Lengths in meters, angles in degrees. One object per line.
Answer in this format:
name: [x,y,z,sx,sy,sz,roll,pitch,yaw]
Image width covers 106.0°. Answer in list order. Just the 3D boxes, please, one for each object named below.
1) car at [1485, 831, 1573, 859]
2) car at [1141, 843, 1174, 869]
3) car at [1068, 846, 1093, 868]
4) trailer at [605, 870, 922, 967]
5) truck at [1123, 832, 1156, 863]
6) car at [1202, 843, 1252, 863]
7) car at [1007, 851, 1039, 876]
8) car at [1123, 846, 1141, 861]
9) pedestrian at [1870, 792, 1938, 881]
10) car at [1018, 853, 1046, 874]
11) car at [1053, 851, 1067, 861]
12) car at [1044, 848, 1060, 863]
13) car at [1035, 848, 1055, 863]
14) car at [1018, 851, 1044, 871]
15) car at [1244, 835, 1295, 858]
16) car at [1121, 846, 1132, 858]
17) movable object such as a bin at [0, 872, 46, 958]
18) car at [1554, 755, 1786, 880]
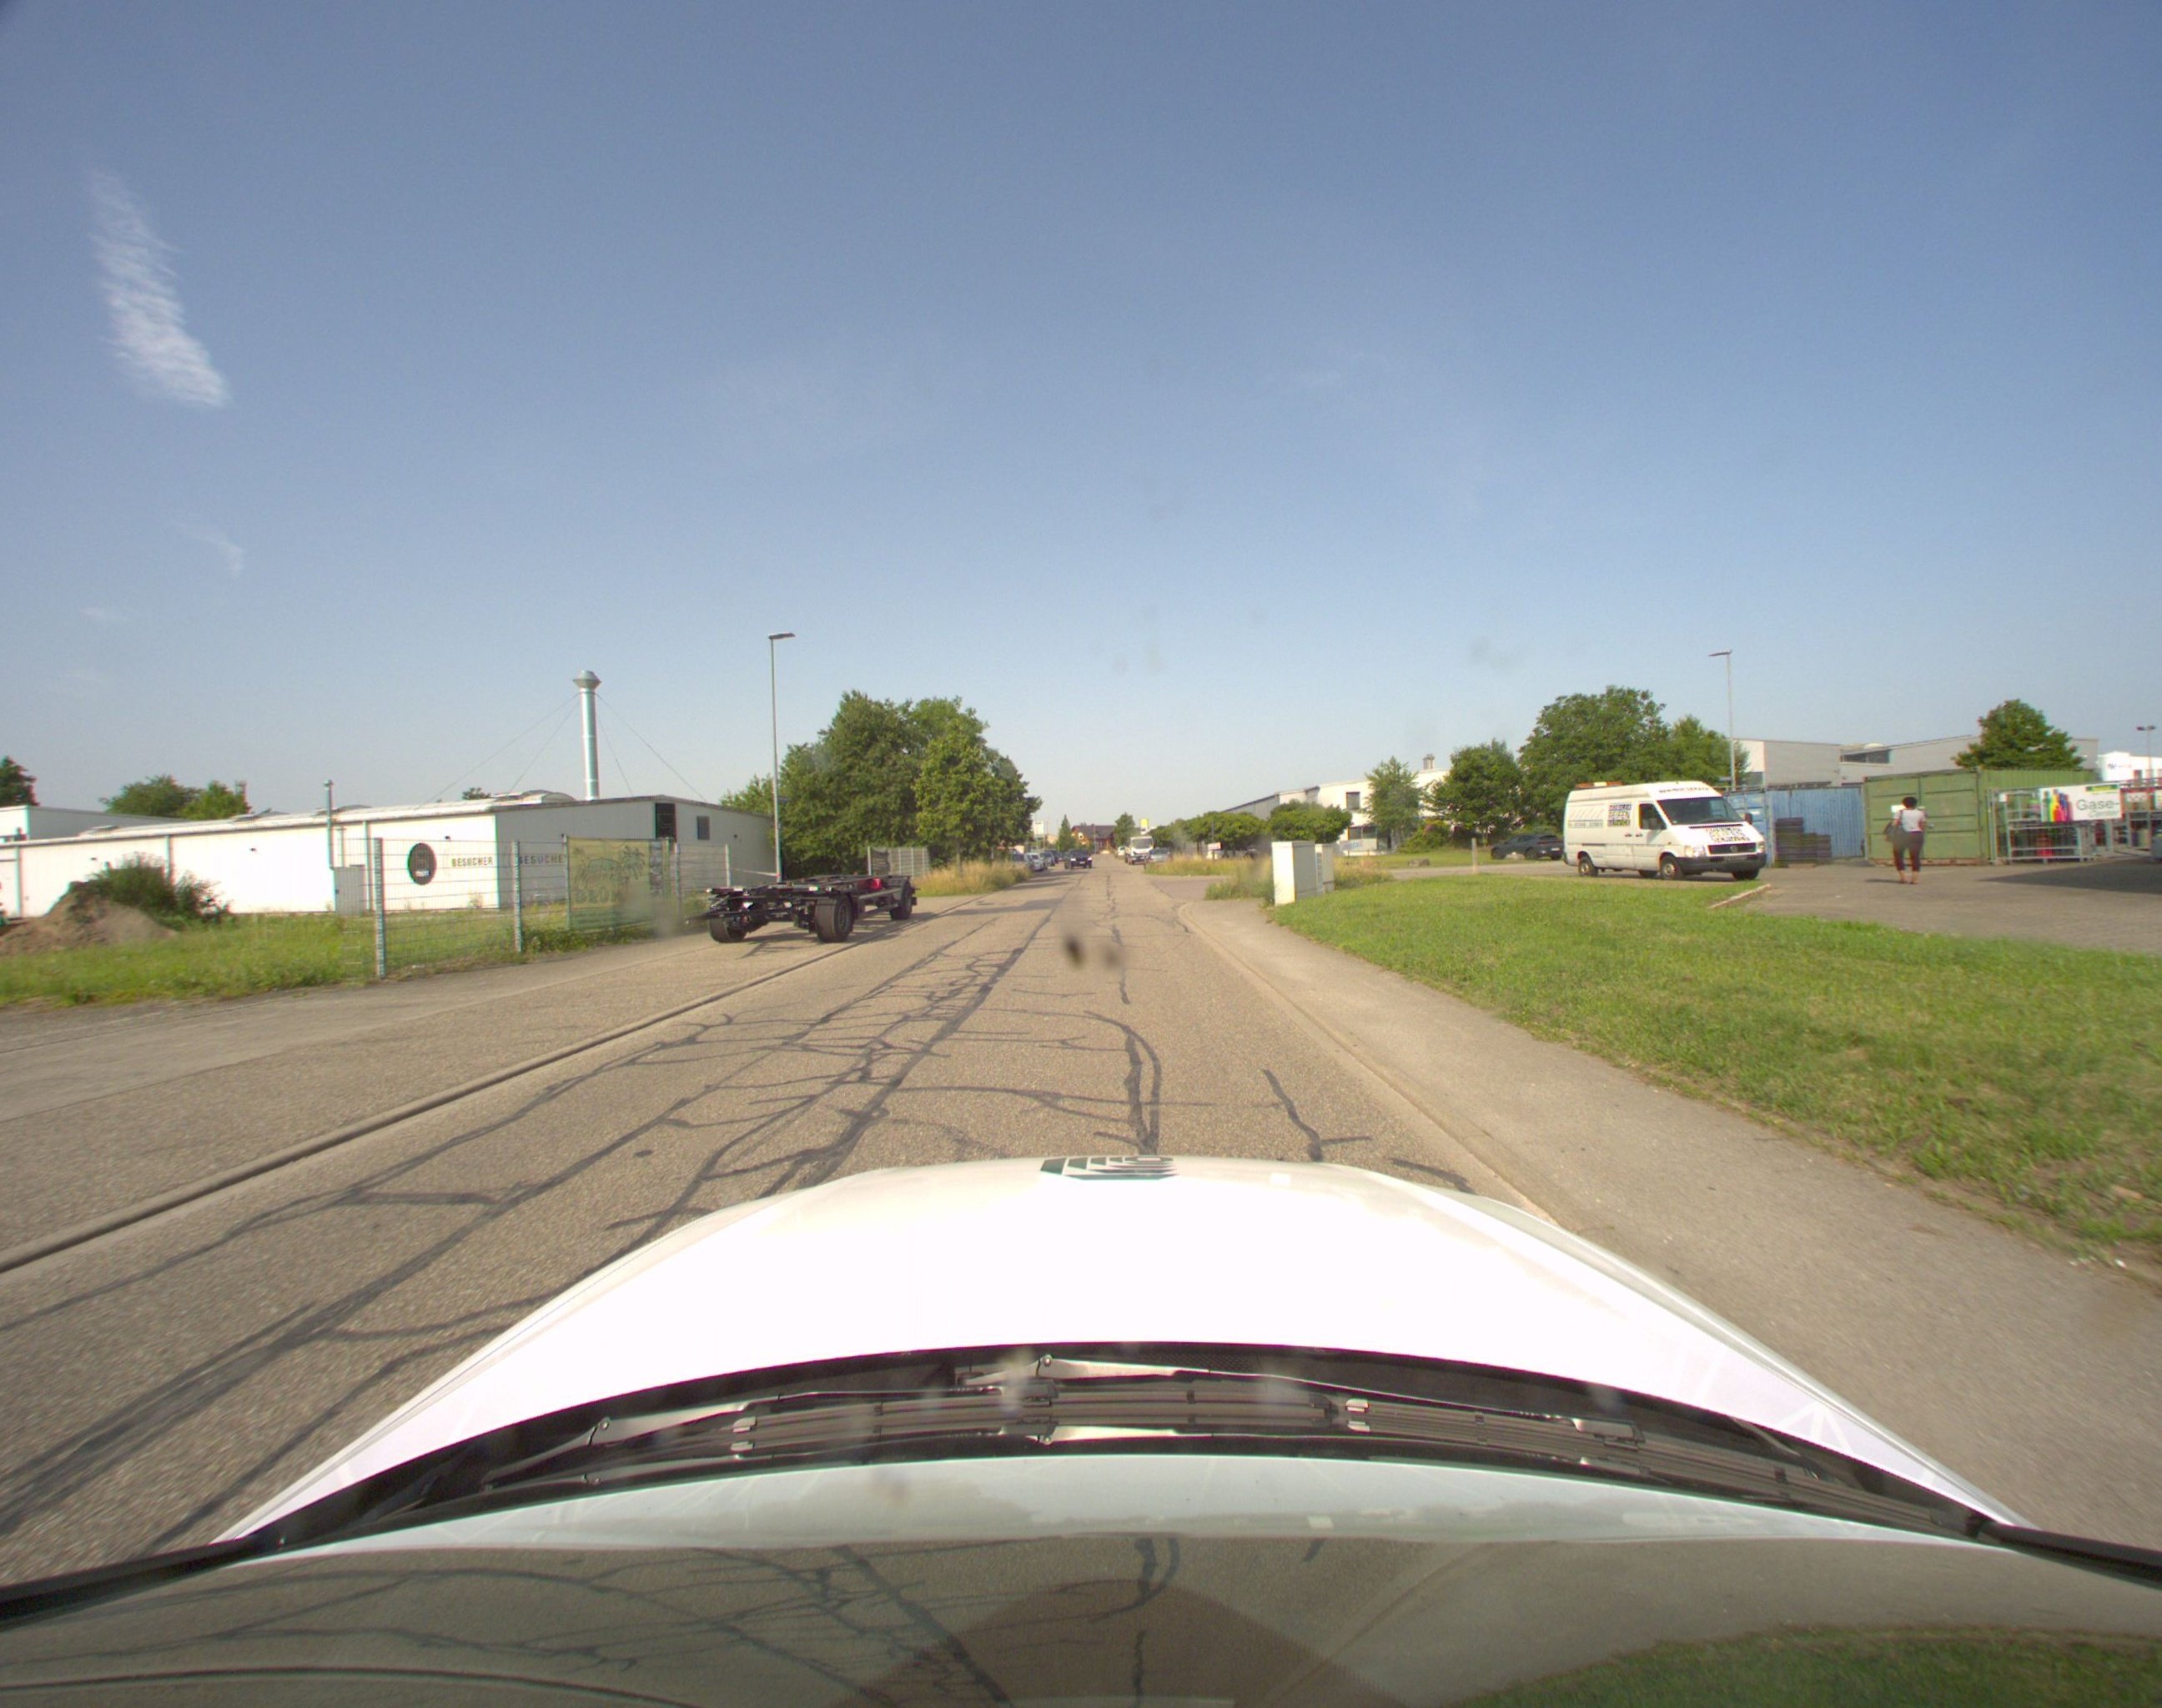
car: [25.055,-0.479,45.764,1.785,1.409,4.323,-3,0,-16]
car: [4.995,0.116,53.792,1.787,1.517,4.425,-3,0,1]
car: [-0.042,0.225,69.616,1.849,1.714,4.229,-4,0,2]
trailer: [-5.564,1.034,16.601,2.573,1.184,9.366,-1,0,1]
truck: [5.467,-0.606,77.451,2.353,2.681,6.506,-3,0,-2]
car: [11.169,-0.090,62.344,3.716,1.380,1.668,-3,0,-38]
car: [-3.822,0.615,54.369,1.559,1.538,3.692,-3,0,4]
car: [5.608,-0.086,89.747,1.788,1.560,4.002,-3,0,2]
pedestrian: [15.759,-0.326,15.609,0.696,1.640,0.754,-2,0,30]
car: [-3.526,0.633,59.072,1.572,1.443,3.966,-1,0,3]
car: [-2.922,0.233,113.334,1.793,1.386,3.639,-1,0,1]
car: [-3.539,0.140,100.061,1.793,1.774,4.203,-1,0,1]
car: [-3.818,0.180,86.641,1.626,1.517,3.610,-1,0,4]
car: [-3.930,0.511,64.545,1.677,1.469,4.255,-1,0,2]
car: [15.230,-0.619,65.657,4.560,1.589,1.667,-3,0,-43]
car: [7.784,-0.393,139.740,1.831,1.924,3.758,-3,0,2]
movable object such as a bin: [-33.507,1.889,24.385,4.251,2.456,2.266,-3,0,27]
car: [14.853,-0.824,21.131,1.965,2.705,5.886,-2,0,4]
